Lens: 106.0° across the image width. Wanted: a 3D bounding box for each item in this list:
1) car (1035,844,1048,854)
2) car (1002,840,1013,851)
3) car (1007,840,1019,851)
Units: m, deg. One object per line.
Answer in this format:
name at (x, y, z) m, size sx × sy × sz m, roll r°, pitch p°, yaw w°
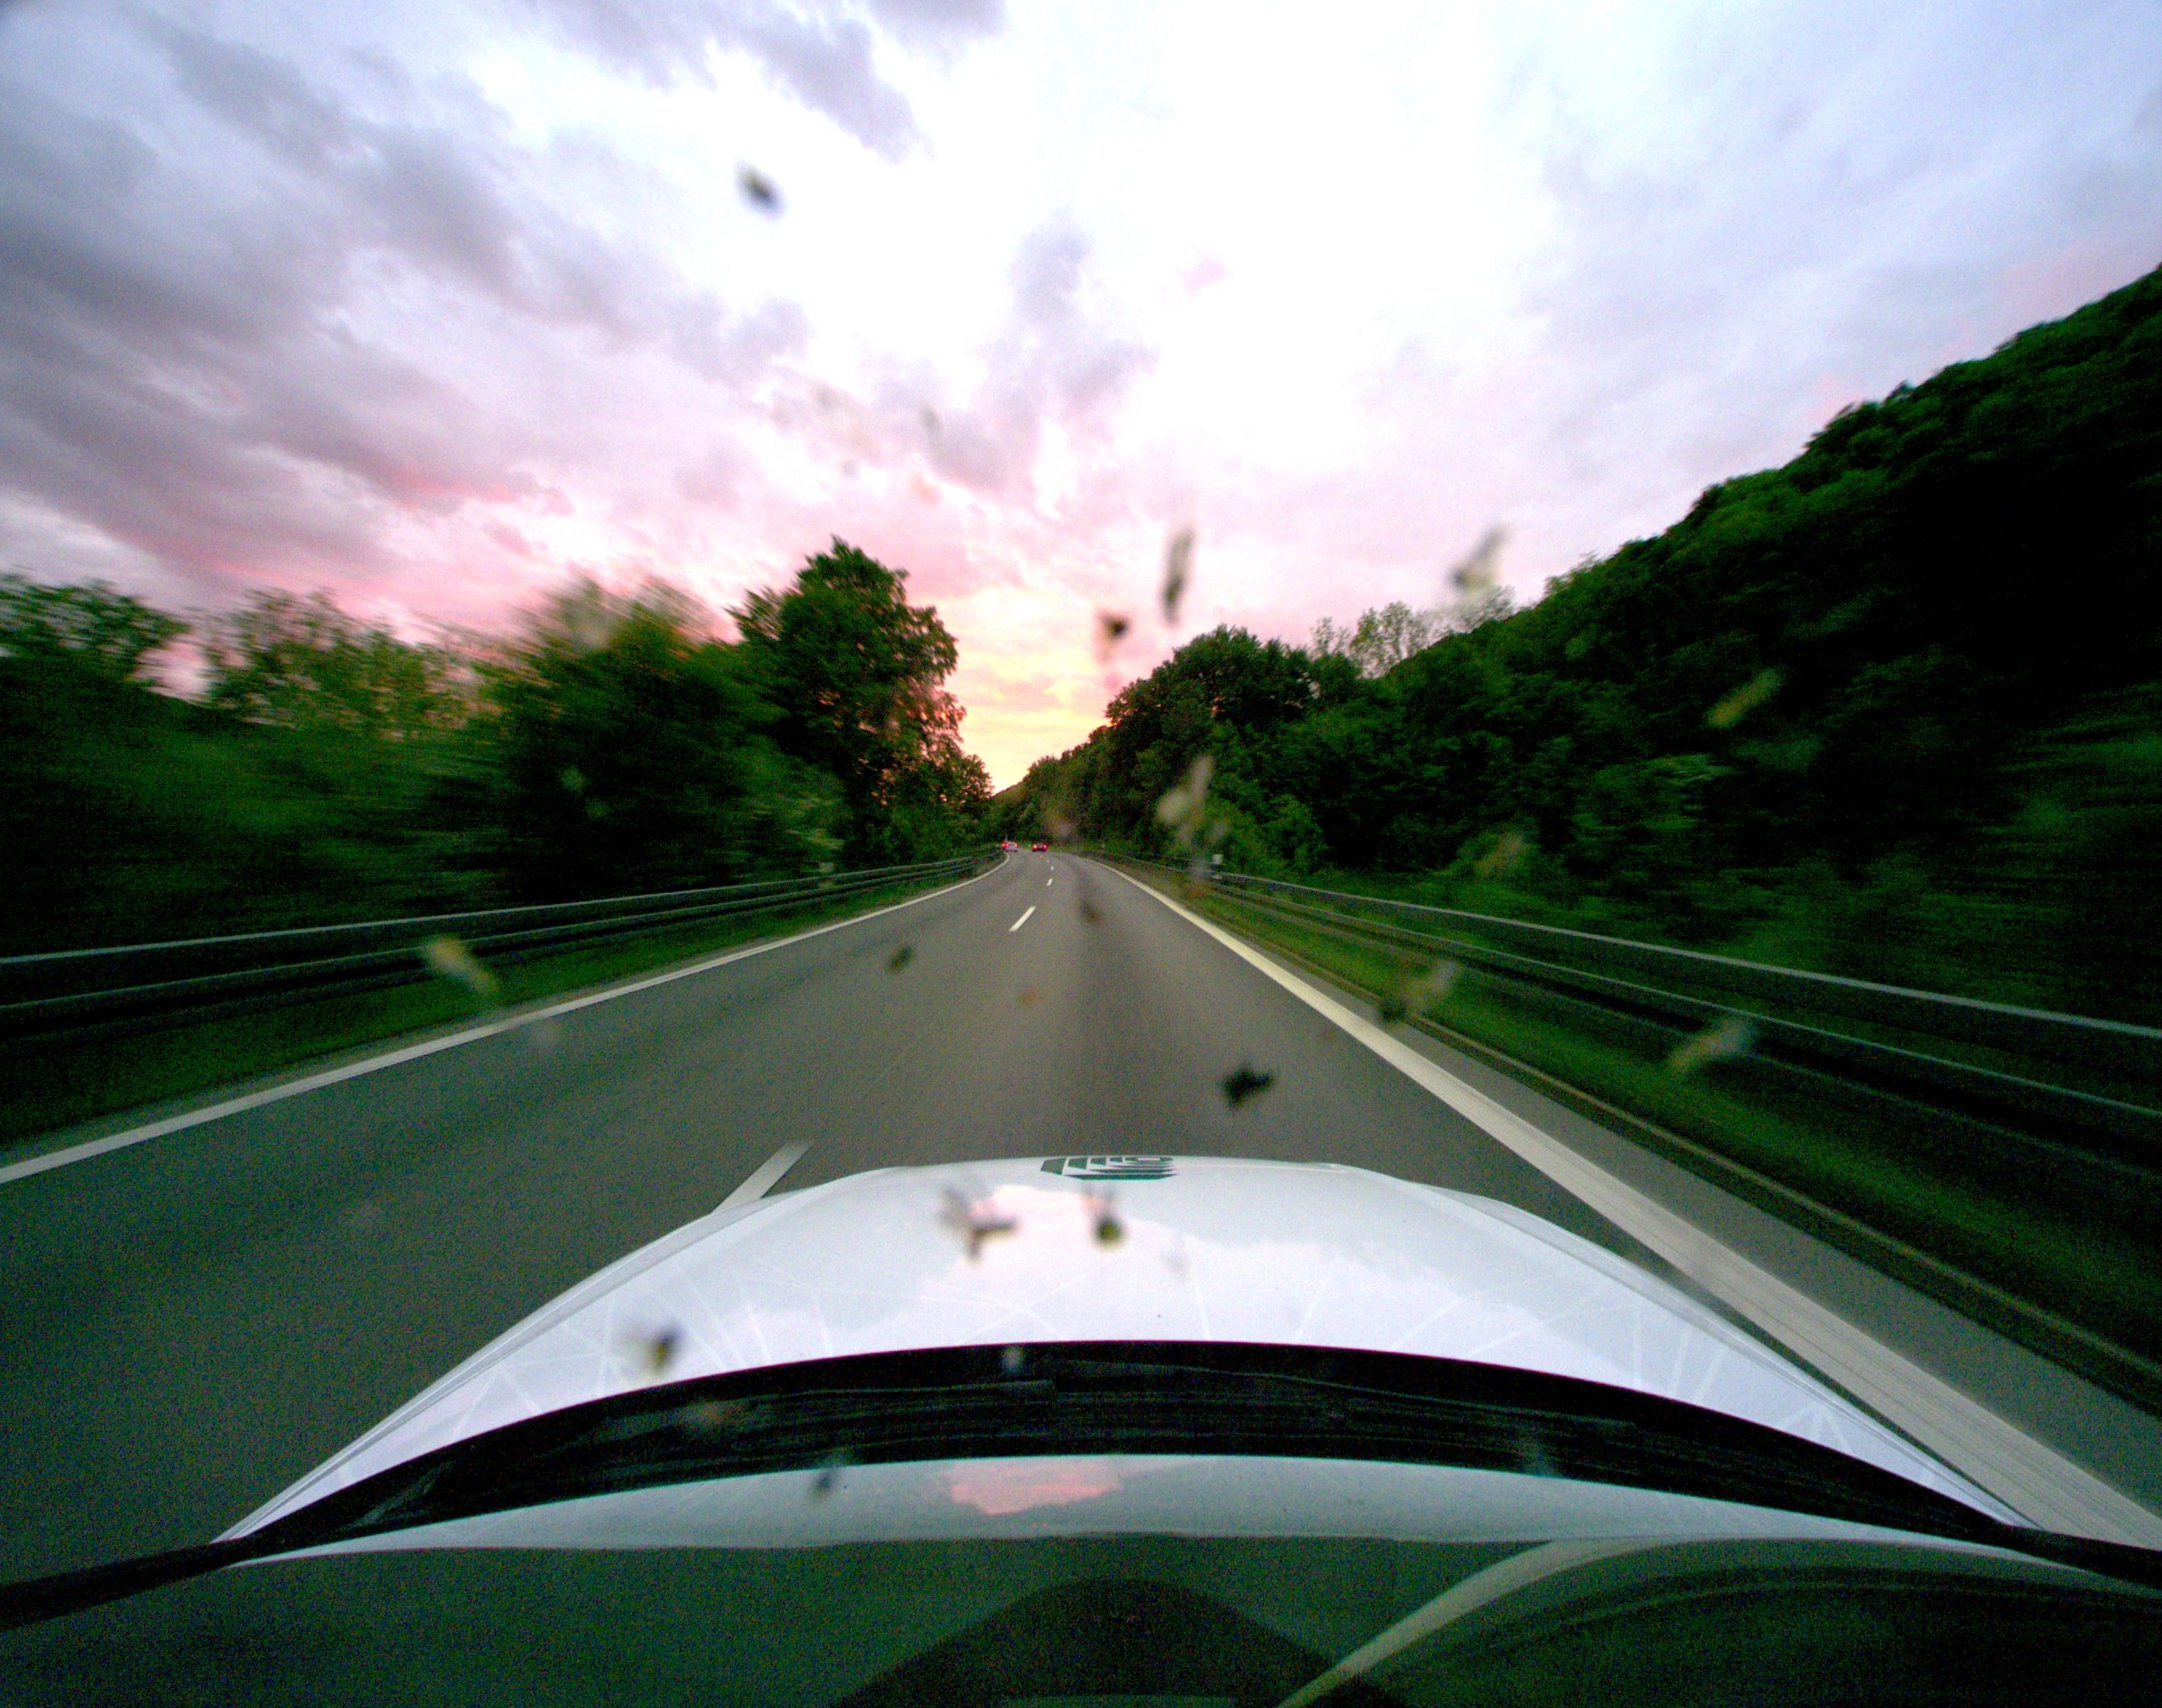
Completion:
car at (-6.061, -0.782, 124.587) m, size 1.875 × 1.466 × 3.994 m, roll -2°, pitch 1°, yaw -4°
car at (-12.460, -1.408, 137.779) m, size 1.716 × 1.635 × 3.991 m, roll -5°, pitch -1°, yaw -6°
car at (-10.665, -1.316, 127.571) m, size 1.714 × 1.501 × 3.996 m, roll 1°, pitch -1°, yaw -2°
